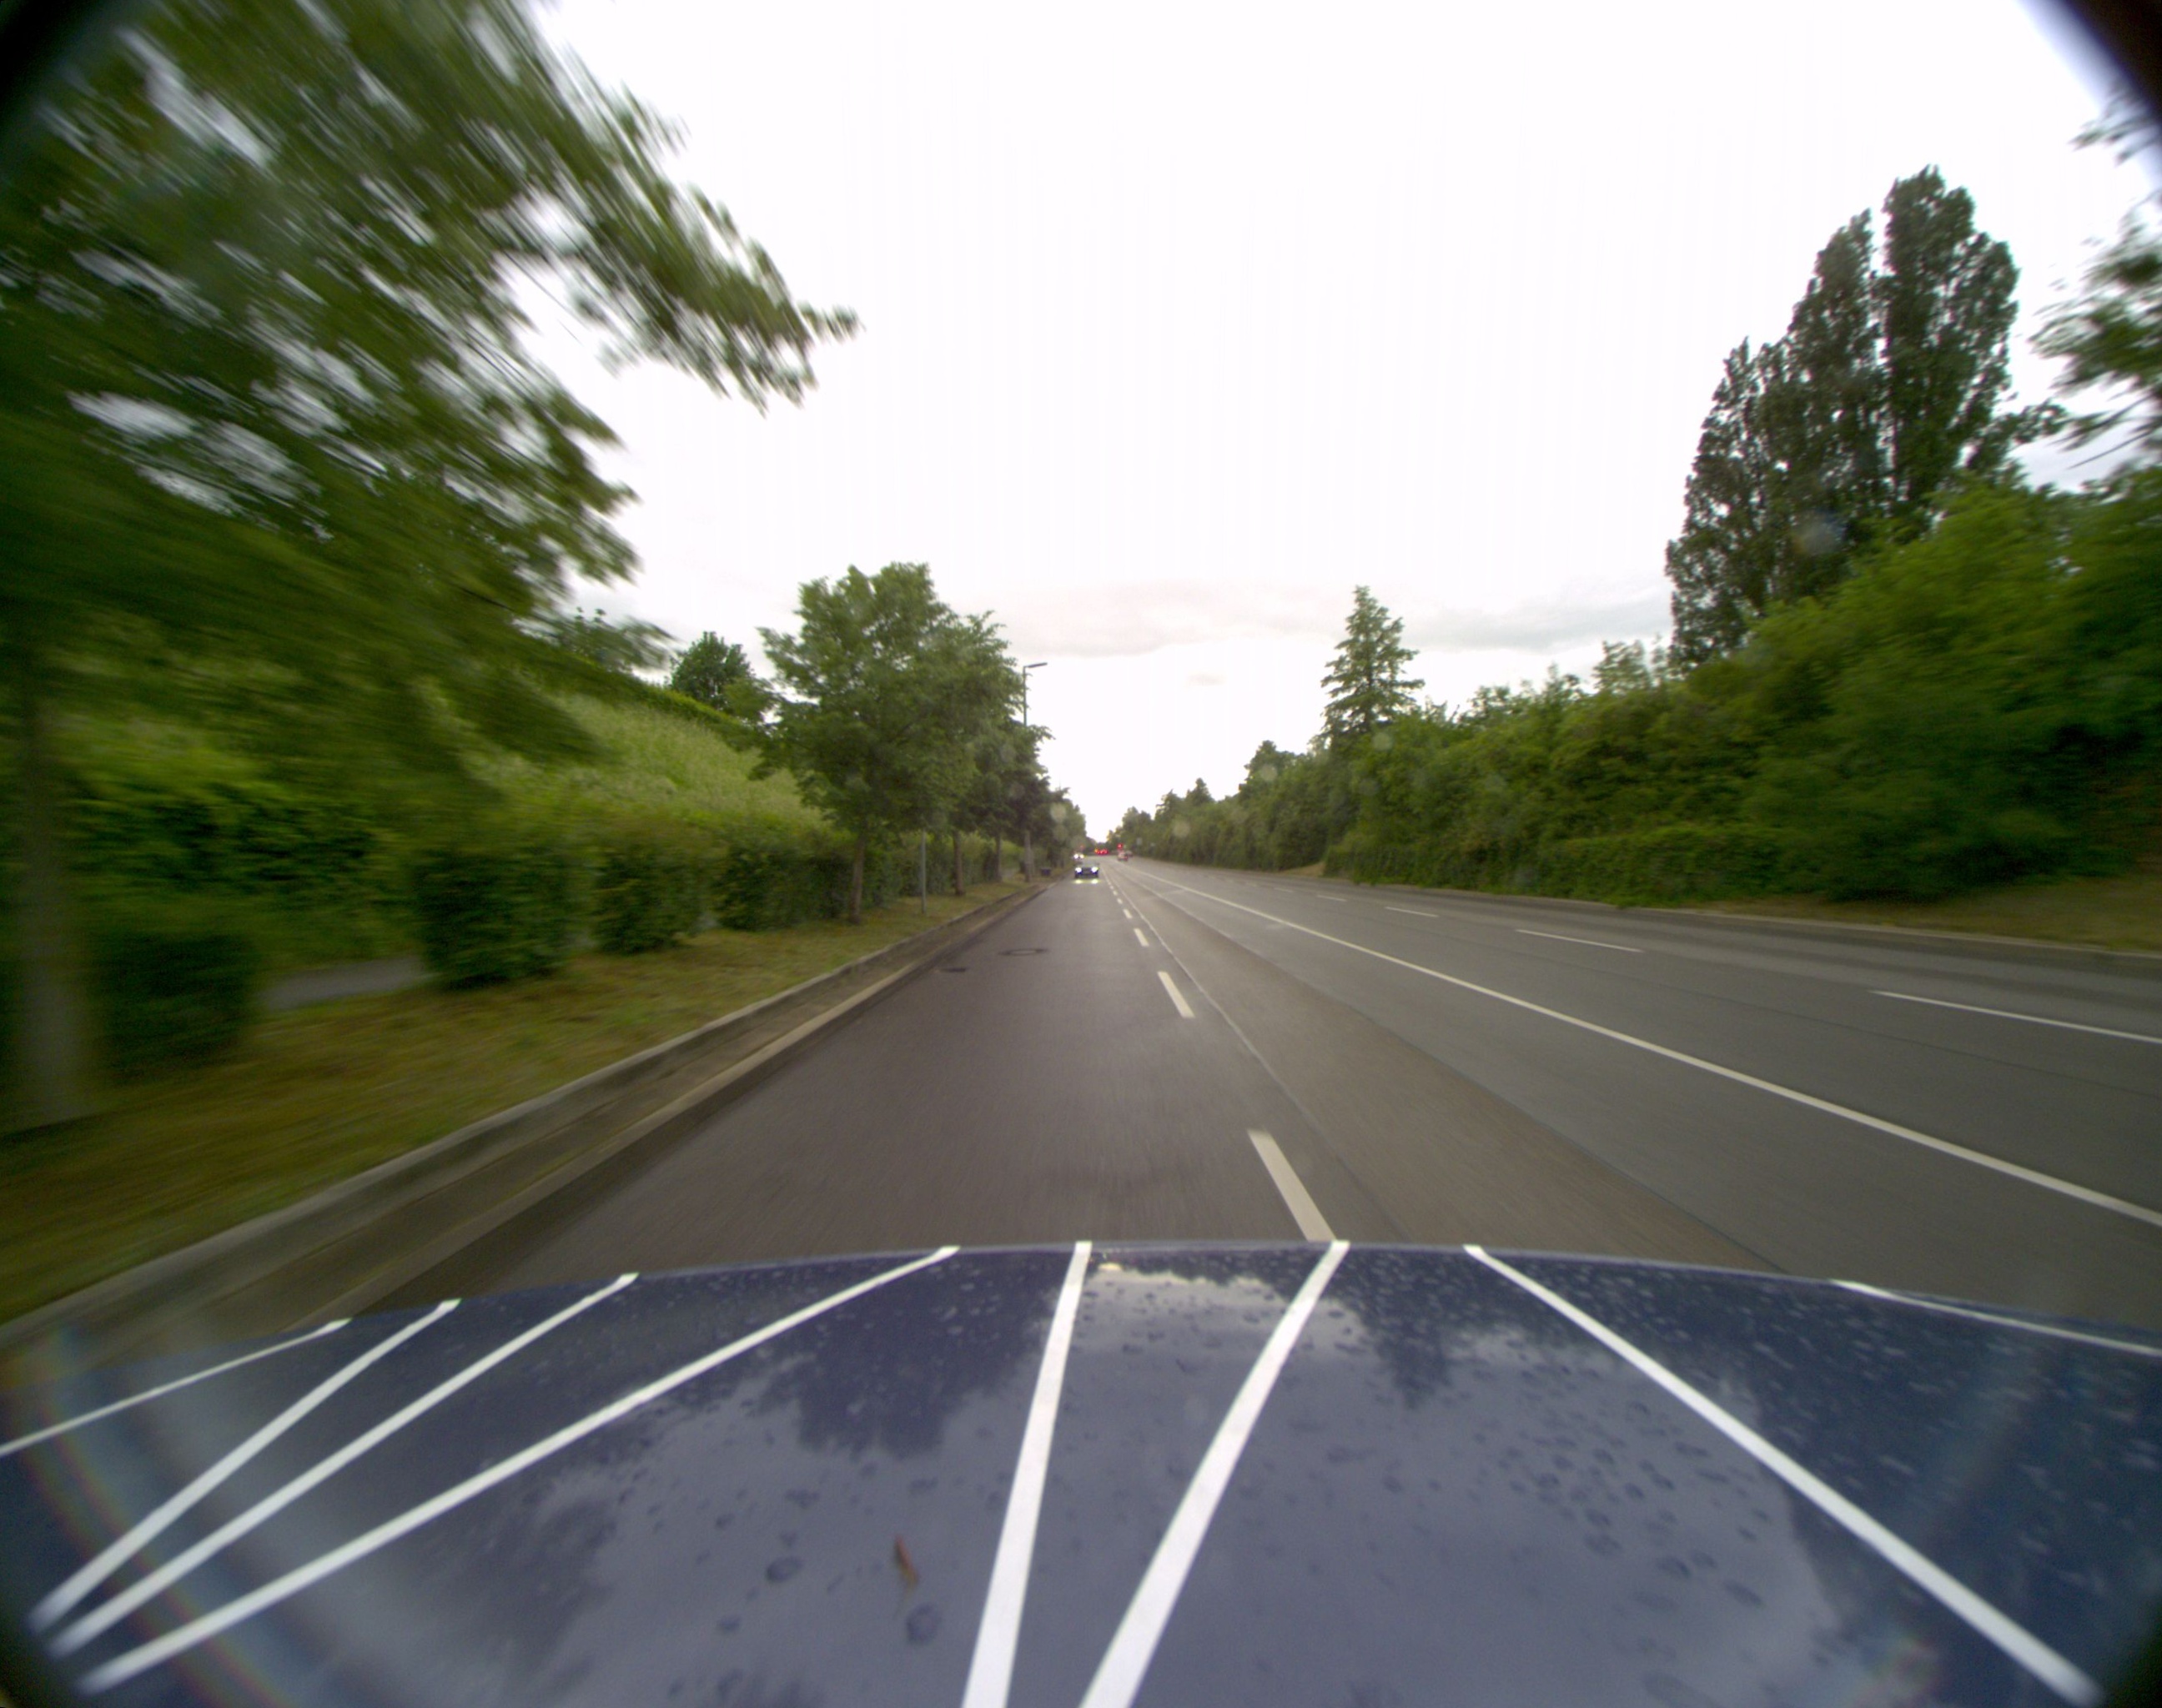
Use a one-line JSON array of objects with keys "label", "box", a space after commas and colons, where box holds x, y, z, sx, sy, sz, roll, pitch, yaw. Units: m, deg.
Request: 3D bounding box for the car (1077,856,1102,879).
[{"label": "car", "box": [0.615, 0.995, 58.068, 1.738, 1.577, 4.285, -1, 0, -2]}]

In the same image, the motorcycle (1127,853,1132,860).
[{"label": "motorcycle", "box": [8.715, 0.409, 136.218, 0.807, 1.124, 2.231, -2, 0, 1]}]

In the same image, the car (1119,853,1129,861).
[{"label": "car", "box": [8.446, 0.527, 149.621, 1.719, 1.496, 4.517, -2, 0, 1]}]

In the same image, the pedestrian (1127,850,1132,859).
[{"label": "pedestrian", "box": [8.703, 0.059, 136.195, 0.807, 1.532, 1.111, -2, 1, 1]}]

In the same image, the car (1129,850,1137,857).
[{"label": "car", "box": [12.423, -0.118, 182.362, 1.764, 1.373, 4.838, -3, 0, 1]}]

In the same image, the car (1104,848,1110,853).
[{"label": "car", "box": [8.177, -1.054, 239.717, 1.817, 1.648, 4.595, -2, 1, 1]}]
